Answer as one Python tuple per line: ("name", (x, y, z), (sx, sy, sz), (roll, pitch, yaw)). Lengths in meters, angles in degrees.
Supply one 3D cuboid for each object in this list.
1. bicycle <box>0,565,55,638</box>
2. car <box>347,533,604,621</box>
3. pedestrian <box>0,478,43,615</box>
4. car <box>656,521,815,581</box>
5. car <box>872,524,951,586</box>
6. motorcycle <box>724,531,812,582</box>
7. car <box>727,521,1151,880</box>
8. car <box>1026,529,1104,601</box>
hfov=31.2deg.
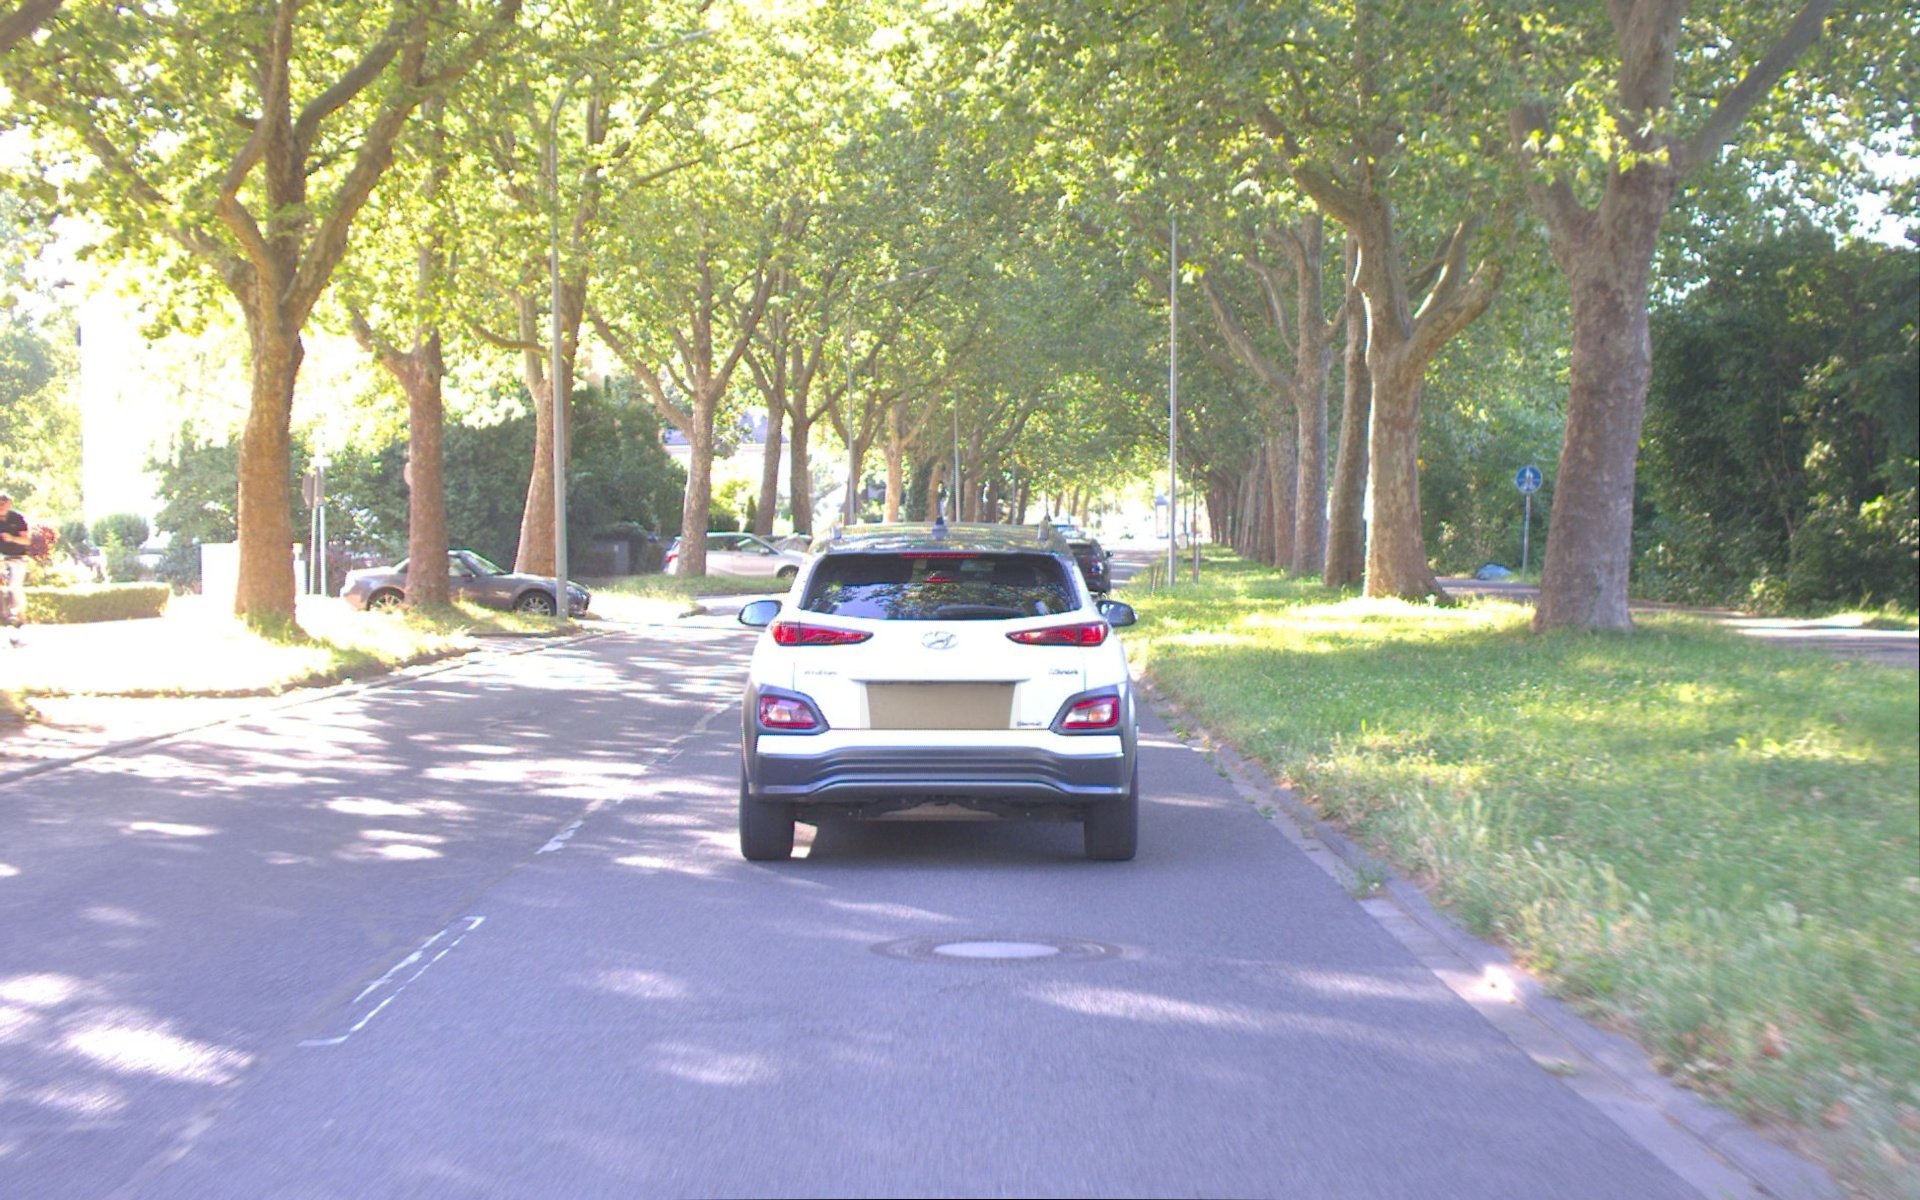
("bicycle", (-11.952, 0.007, 43.378), (0.470, 0.877, 2.156), (0, 1, 1))
("car", (-7.744, -0.378, 55.190), (3.825, 1.312, 1.790), (1, 1, 1))
("pedestrian", (-12.013, -0.673, 43.279), (0.616, 1.710, 1.065), (0, 1, 1))
("car", (-6.019, -1.318, 92.632), (4.183, 1.579, 2.000), (0, 1, -1))
("car", (-1.201, -1.155, 87.042), (1.784, 1.507, 3.838), (1, 1, 2))
("motorcycle", (-5.300, -1.212, 95.020), (2.385, 1.383, 0.648), (0, 2, -1))
("car", (-0.198, 0.393, 16.955), (1.835, 1.550, 4.001), (0, 1, -3))
("car", (2.484, -0.856, 82.102), (1.676, 1.690, 3.745), (0, 1, -1))
